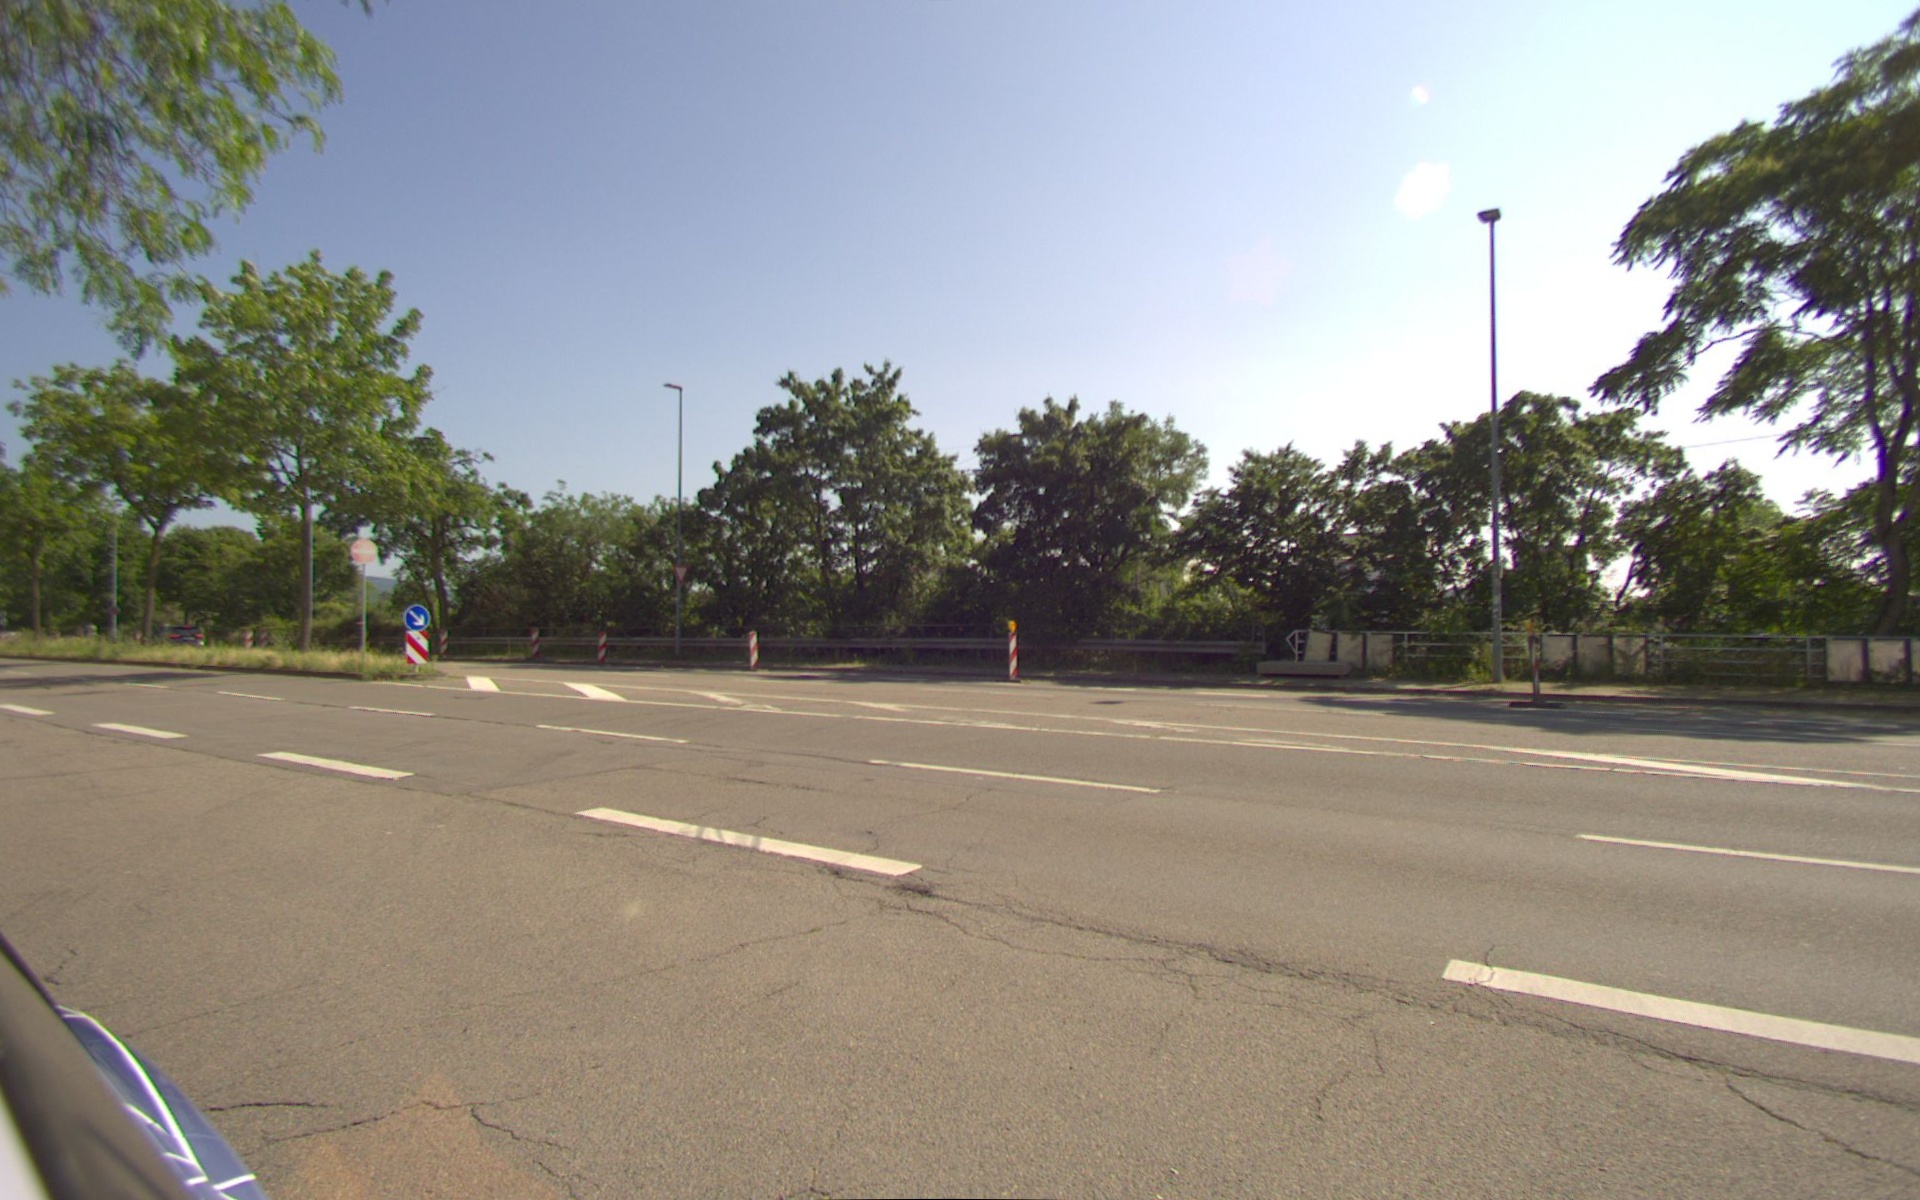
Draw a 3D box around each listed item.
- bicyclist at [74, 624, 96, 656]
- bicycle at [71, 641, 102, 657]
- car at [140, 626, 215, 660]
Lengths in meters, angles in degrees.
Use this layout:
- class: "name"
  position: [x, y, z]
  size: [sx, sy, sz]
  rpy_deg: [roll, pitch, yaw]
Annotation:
- class: "bicyclist"
  position: [-51.455, 2.359, 59.523]
  size: [1.013, 1.846, 0.691]
  rpy_deg: [-1, -2, 31]
- class: "bicycle"
  position: [-51.274, 2.885, 59.392]
  size: [2.334, 0.912, 0.688]
  rpy_deg: [-1, -2, 32]
- class: "car"
  position: [-42.638, 2.324, 55.121]
  size: [4.720, 1.747, 1.975]
  rpy_deg: [-1, -2, 36]
